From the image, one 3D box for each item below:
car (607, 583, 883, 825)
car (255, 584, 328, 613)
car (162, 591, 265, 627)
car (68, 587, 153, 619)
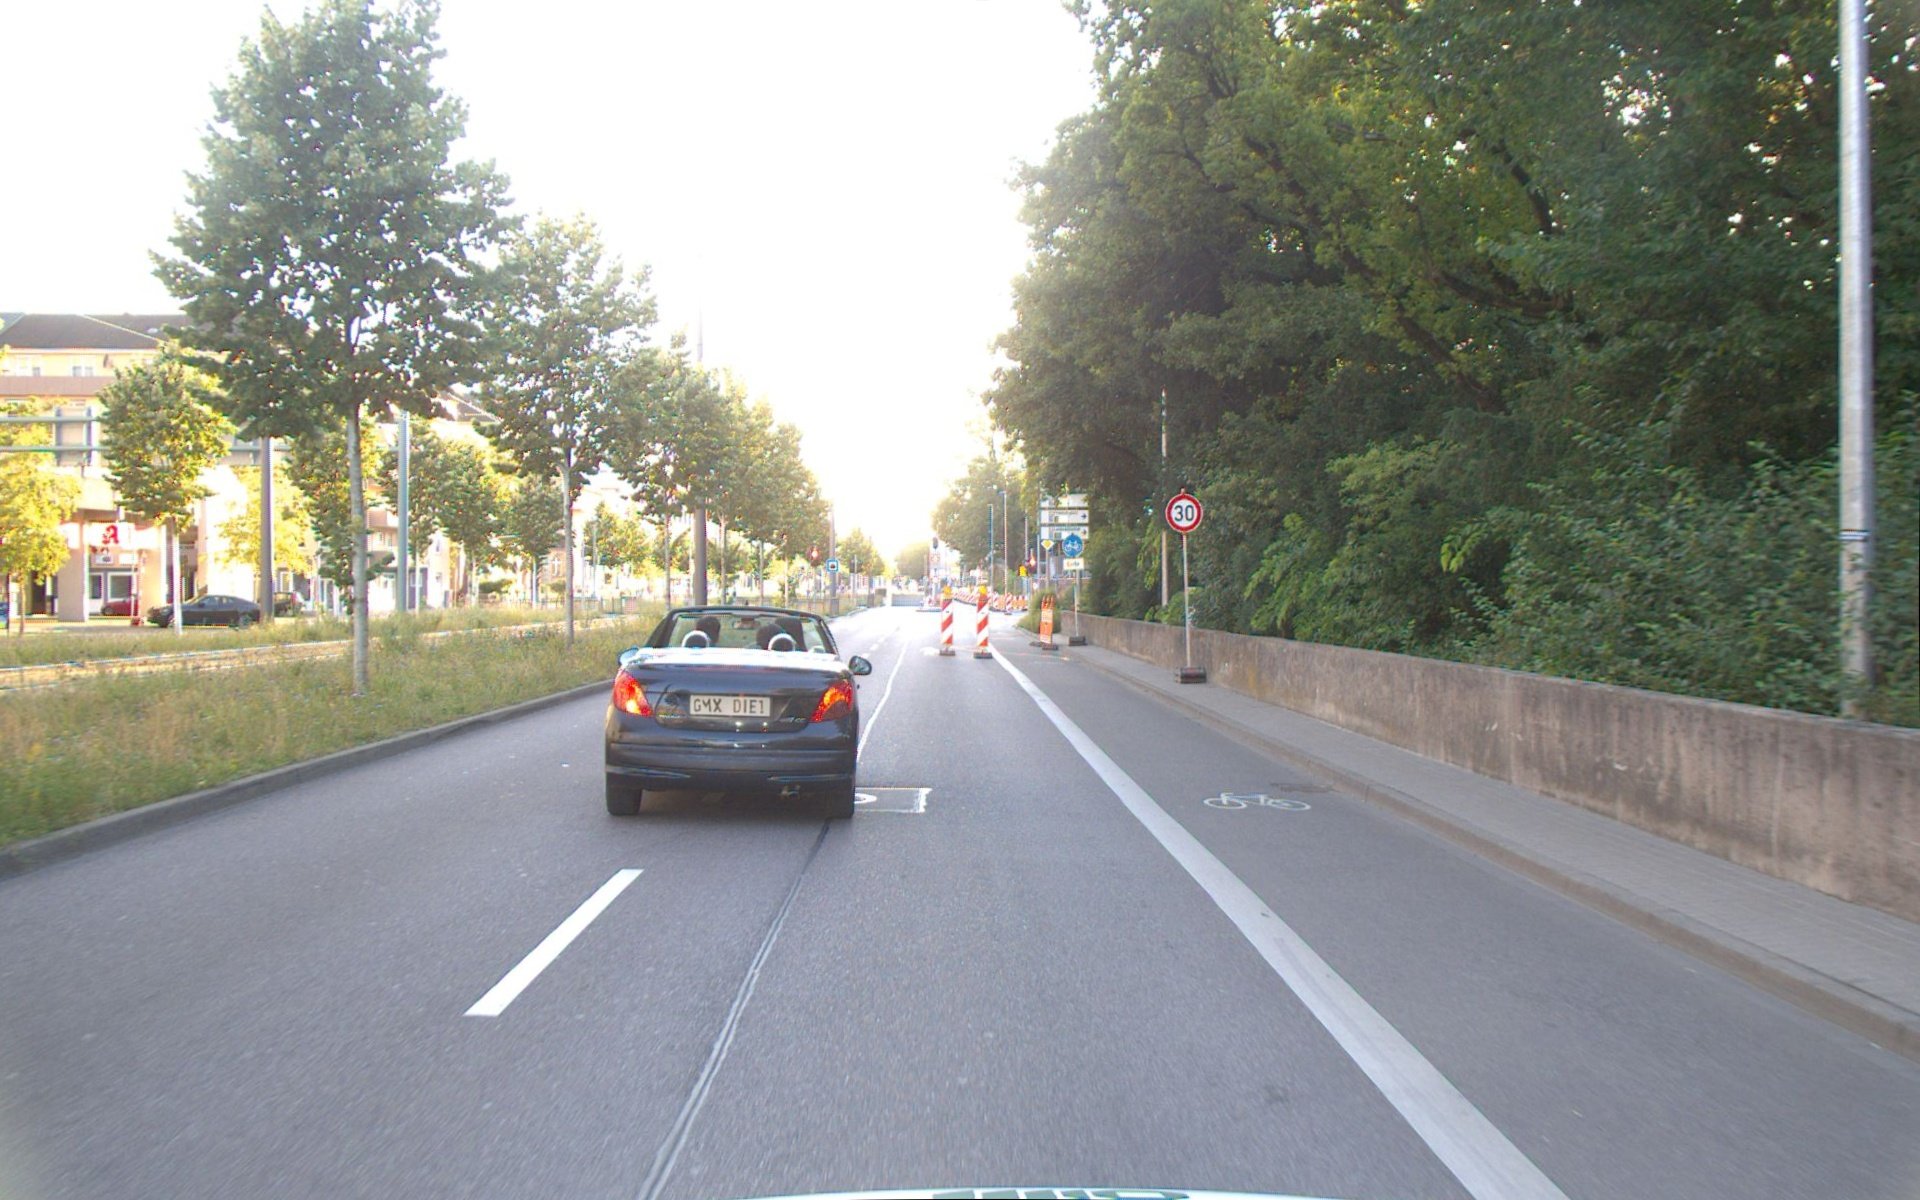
[{"bbox_3d":[-1.622,0.625,12.186,1.687,1.475,3.893,0,1,-9],"label":"car"},{"bbox_3d":[-43.560,-0.113,107.883,3.854,1.878,2.191,0,0,-2],"label":"car"},{"bbox_3d":[-32.236,0.389,71.496,3.702,1.475,1.716,-1,-1,-44],"label":"car"},{"bbox_3d":[-54.191,0.187,105.559,4.242,1.800,2.166,-3,2,-2],"label":"car"}]
